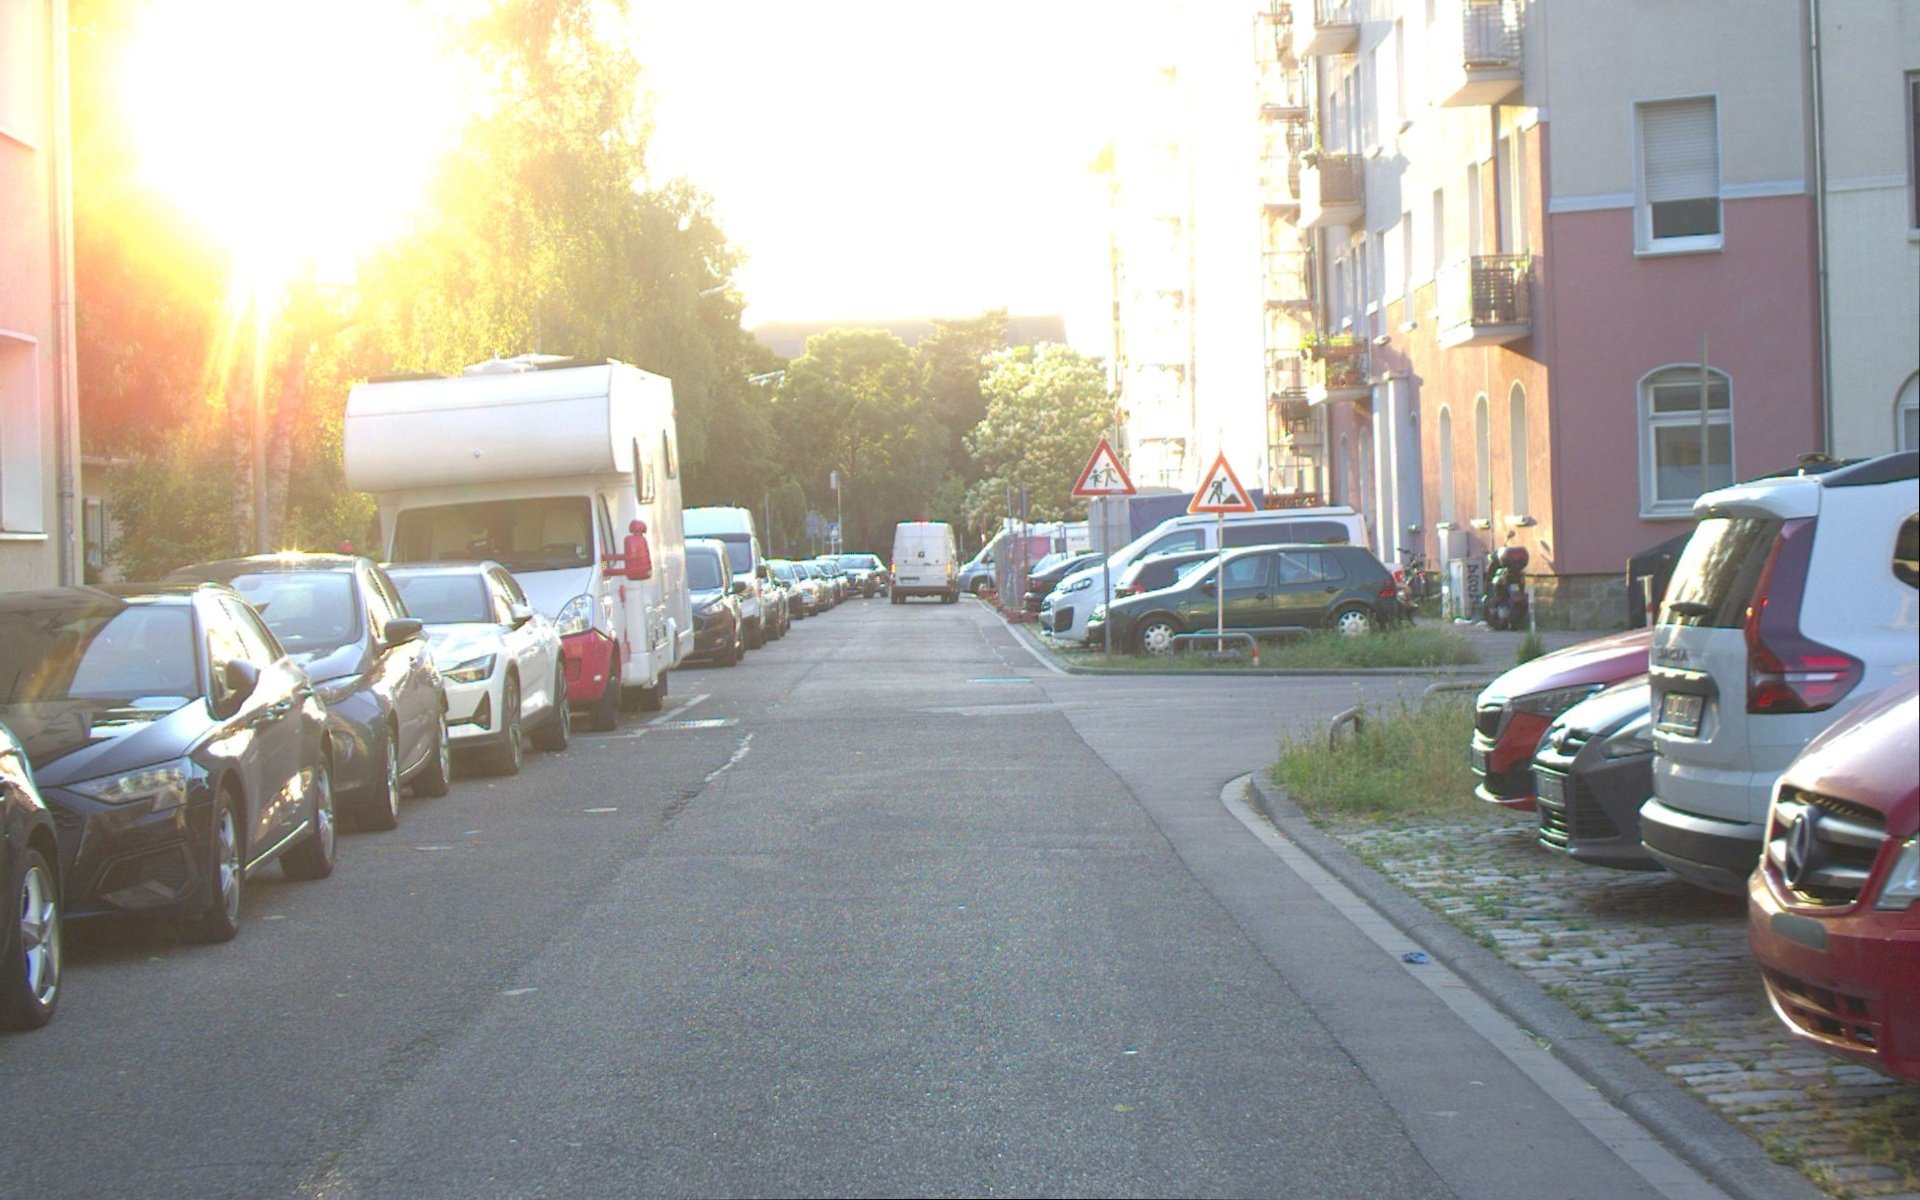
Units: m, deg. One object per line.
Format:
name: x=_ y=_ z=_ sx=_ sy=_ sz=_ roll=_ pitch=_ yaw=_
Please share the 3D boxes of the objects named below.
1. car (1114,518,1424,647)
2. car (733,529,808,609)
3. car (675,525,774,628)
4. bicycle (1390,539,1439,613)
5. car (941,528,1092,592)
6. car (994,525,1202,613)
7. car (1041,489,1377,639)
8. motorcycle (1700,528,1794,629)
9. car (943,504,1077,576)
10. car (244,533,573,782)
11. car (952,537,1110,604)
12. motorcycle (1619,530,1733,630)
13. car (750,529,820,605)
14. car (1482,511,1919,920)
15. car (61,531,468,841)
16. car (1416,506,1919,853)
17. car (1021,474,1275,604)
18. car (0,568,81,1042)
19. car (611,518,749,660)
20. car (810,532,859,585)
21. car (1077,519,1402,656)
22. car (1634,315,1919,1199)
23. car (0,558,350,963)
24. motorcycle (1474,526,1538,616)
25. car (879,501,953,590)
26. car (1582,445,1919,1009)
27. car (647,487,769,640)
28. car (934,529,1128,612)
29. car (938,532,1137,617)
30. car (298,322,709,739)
car: x=4.185 y=-0.253 z=46.985 sx=3.987 sy=1.525 sz=1.659 roll=-3 pitch=1 yaw=-1
car: x=-4.610 y=-0.773 z=84.114 sx=1.653 sy=1.824 sz=3.876 roll=-3 pitch=1 yaw=-2
car: x=-4.485 y=-0.462 z=65.795 sx=1.653 sy=1.824 sz=3.876 roll=-3 pitch=1 yaw=-2
bicycle: x=7.725 y=-0.418 z=58.444 sx=0.517 sy=1.224 sz=1.981 roll=-1 pitch=1 yaw=-1
car: x=1.526 y=-1.105 z=93.743 sx=3.987 sy=1.525 sz=1.659 roll=-3 pitch=1 yaw=-1
car: x=2.734 y=-0.620 z=68.561 sx=3.987 sy=1.525 sz=1.659 roll=-3 pitch=1 yaw=-1
car: x=3.704 y=-0.542 z=51.685 sx=4.813 sy=1.961 sz=1.739 roll=-3 pitch=1 yaw=-1
motorcycle: x=10.018 y=-0.283 z=43.703 sx=0.518 sy=1.224 sz=1.978 roll=-1 pitch=1 yaw=32
car: x=1.845 y=-2.243 z=127.588 sx=4.813 sy=2.399 sz=1.739 roll=-3 pitch=1 yaw=-1
car: x=-3.831 y=0.347 z=24.470 sx=1.653 sy=1.536 sz=3.876 roll=-3 pitch=1 yaw=0
car: x=1.821 y=-0.771 z=89.589 sx=3.987 sy=1.525 sz=1.659 roll=-3 pitch=1 yaw=-1
motorcycle: x=9.167 y=-0.266 z=43.974 sx=0.518 sy=1.224 sz=1.977 roll=-1 pitch=1 yaw=40
car: x=-4.510 y=-0.859 z=88.912 sx=1.653 sy=1.824 sz=3.876 roll=-3 pitch=1 yaw=-2
car: x=4.125 y=0.343 z=13.481 sx=3.811 sy=1.423 sz=1.635 roll=-3 pitch=0 yaw=-1
car: x=-3.982 y=0.431 z=20.274 sx=1.653 sy=1.559 sz=3.876 roll=-3 pitch=1 yaw=-2
car: x=4.200 y=0.289 z=16.114 sx=3.811 sy=1.423 sz=1.635 roll=-3 pitch=0 yaw=-1
car: x=3.128 y=-1.027 z=57.806 sx=3.986 sy=2.007 sz=2.000 roll=-2 pitch=1 yaw=-4
car: x=-3.743 y=0.683 z=9.577 sx=1.653 sy=1.430 sz=3.796 roll=-3 pitch=1 yaw=-2
car: x=-3.906 y=-0.176 z=48.439 sx=1.653 sy=1.824 sz=3.876 roll=-3 pitch=1 yaw=-2
car: x=-4.569 y=-1.524 z=125.556 sx=1.653 sy=1.824 sz=3.876 roll=-3 pitch=1 yaw=-2
car: x=3.593 y=-0.176 z=44.666 sx=3.987 sy=1.525 sz=1.659 roll=-3 pitch=1 yaw=-1
car: x=4.248 y=0.209 z=8.284 sx=4.722 sy=1.903 sz=2.059 roll=-3 pitch=0 yaw=-1
car: x=-3.715 y=0.591 z=14.477 sx=1.653 sy=1.430 sz=3.876 roll=-3 pitch=1 yaw=-2
motorcycle: x=7.599 y=-0.415 z=47.909 sx=0.517 sy=1.224 sz=1.981 roll=-1 pitch=1 yaw=-1
car: x=-1.442 y=-1.767 z=111.402 sx=2.128 sy=2.708 sz=4.834 roll=-3 pitch=1 yaw=-2
car: x=4.389 y=0.255 z=11.104 sx=4.324 sy=1.632 sz=1.818 roll=-3 pitch=0 yaw=-1
car: x=-4.319 y=-0.638 z=59.550 sx=1.769 sy=2.437 sz=5.146 roll=-3 pitch=1 yaw=-2
car: x=1.492 y=-0.643 z=73.020 sx=3.987 sy=1.525 sz=1.659 roll=-3 pitch=1 yaw=-1
car: x=1.576 y=-0.533 z=71.055 sx=3.987 sy=1.525 sz=1.659 roll=-3 pitch=1 yaw=-1
car: x=-4.010 y=-0.626 z=31.939 sx=2.620 sy=3.257 sz=7.697 roll=-3 pitch=1 yaw=0
